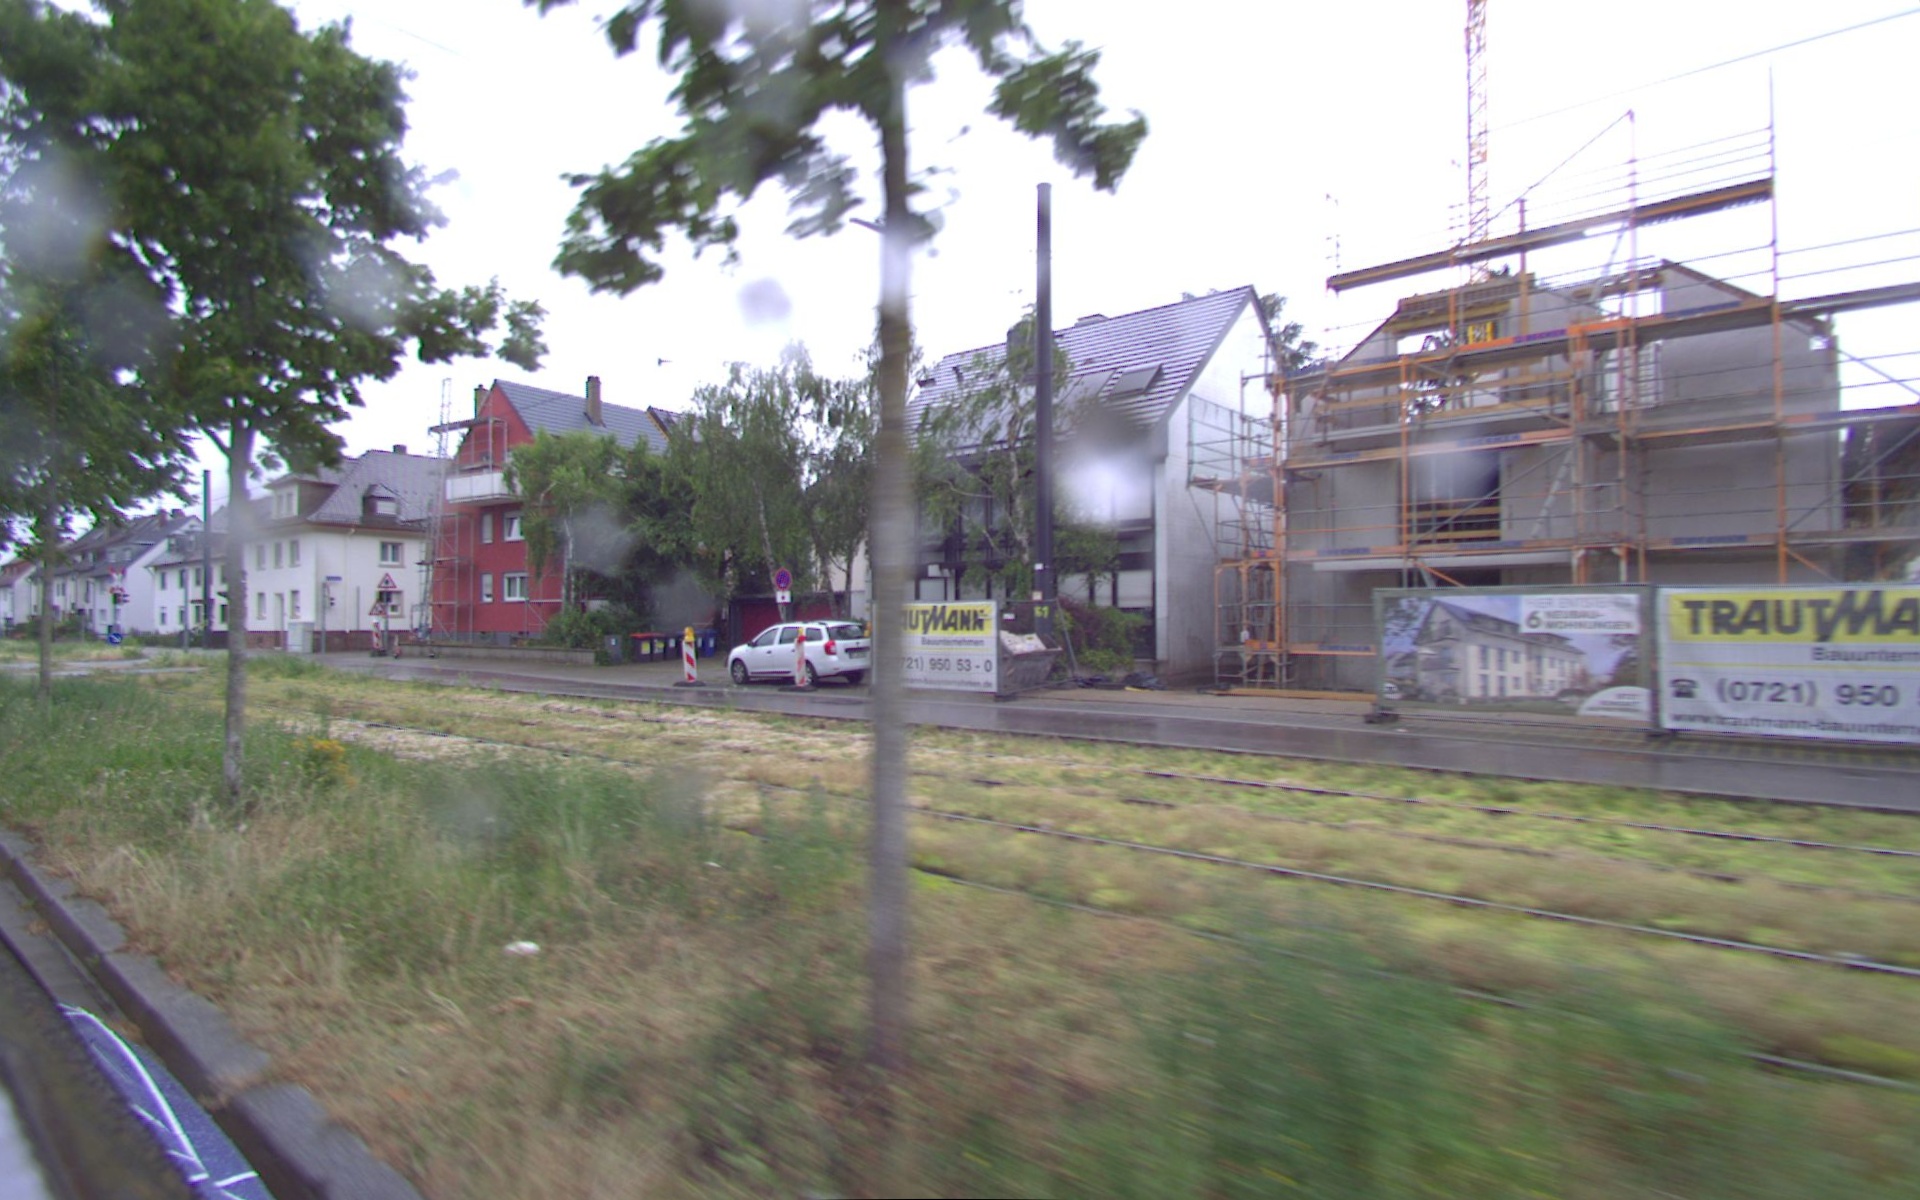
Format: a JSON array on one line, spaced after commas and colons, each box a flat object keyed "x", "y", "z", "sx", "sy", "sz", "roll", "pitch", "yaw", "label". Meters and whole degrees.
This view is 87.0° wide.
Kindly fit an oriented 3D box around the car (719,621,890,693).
[{"x": -3.878, "y": 1.353, "z": 24.820, "sx": 4.420, "sy": 1.554, "sz": 1.692, "roll": -2, "pitch": 0, "yaw": 42, "label": "car"}]

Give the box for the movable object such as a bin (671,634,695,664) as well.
[{"x": -10.575, "y": 1.869, "z": 38.601, "sx": 0.757, "sy": 1.147, "sz": 0.554, "roll": -2, "pitch": -3, "yaw": 41, "label": "movable object such as a bin"}]

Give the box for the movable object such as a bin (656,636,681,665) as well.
[{"x": -10.969, "y": 1.887, "z": 38.075, "sx": 0.757, "sy": 1.090, "sz": 0.554, "roll": -2, "pitch": -3, "yaw": 41, "label": "movable object such as a bin"}]

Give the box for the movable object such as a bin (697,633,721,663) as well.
[{"x": -9.809, "y": 1.876, "z": 39.553, "sx": 0.757, "sy": 1.147, "sz": 0.554, "roll": -2, "pitch": -3, "yaw": 41, "label": "movable object such as a bin"}]

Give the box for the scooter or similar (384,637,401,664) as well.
[{"x": -25.193, "y": 2.232, "z": 44.932, "sx": 0.434, "sy": 1.138, "sz": 1.287, "roll": 0, "pitch": -2, "yaw": -20, "label": "scooter or similar"}]

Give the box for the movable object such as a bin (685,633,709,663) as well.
[{"x": -10.175, "y": 1.856, "z": 39.107, "sx": 0.757, "sy": 1.147, "sz": 0.554, "roll": -2, "pitch": -3, "yaw": 41, "label": "movable object such as a bin"}]

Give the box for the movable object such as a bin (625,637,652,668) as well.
[{"x": -11.776, "y": 1.926, "z": 37.101, "sx": 0.757, "sy": 1.099, "sz": 0.637, "roll": -2, "pitch": -2, "yaw": 40, "label": "movable object such as a bin"}]

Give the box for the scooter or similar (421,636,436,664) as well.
[{"x": -22.753, "y": 2.129, "z": 43.301, "sx": 0.388, "sy": 1.189, "sz": 1.286, "roll": 1, "pitch": -2, "yaw": -35, "label": "scooter or similar"}]

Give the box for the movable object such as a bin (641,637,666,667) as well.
[{"x": -11.380, "y": 1.938, "z": 37.586, "sx": 0.757, "sy": 1.090, "sz": 0.554, "roll": -2, "pitch": -3, "yaw": 41, "label": "movable object such as a bin"}]
